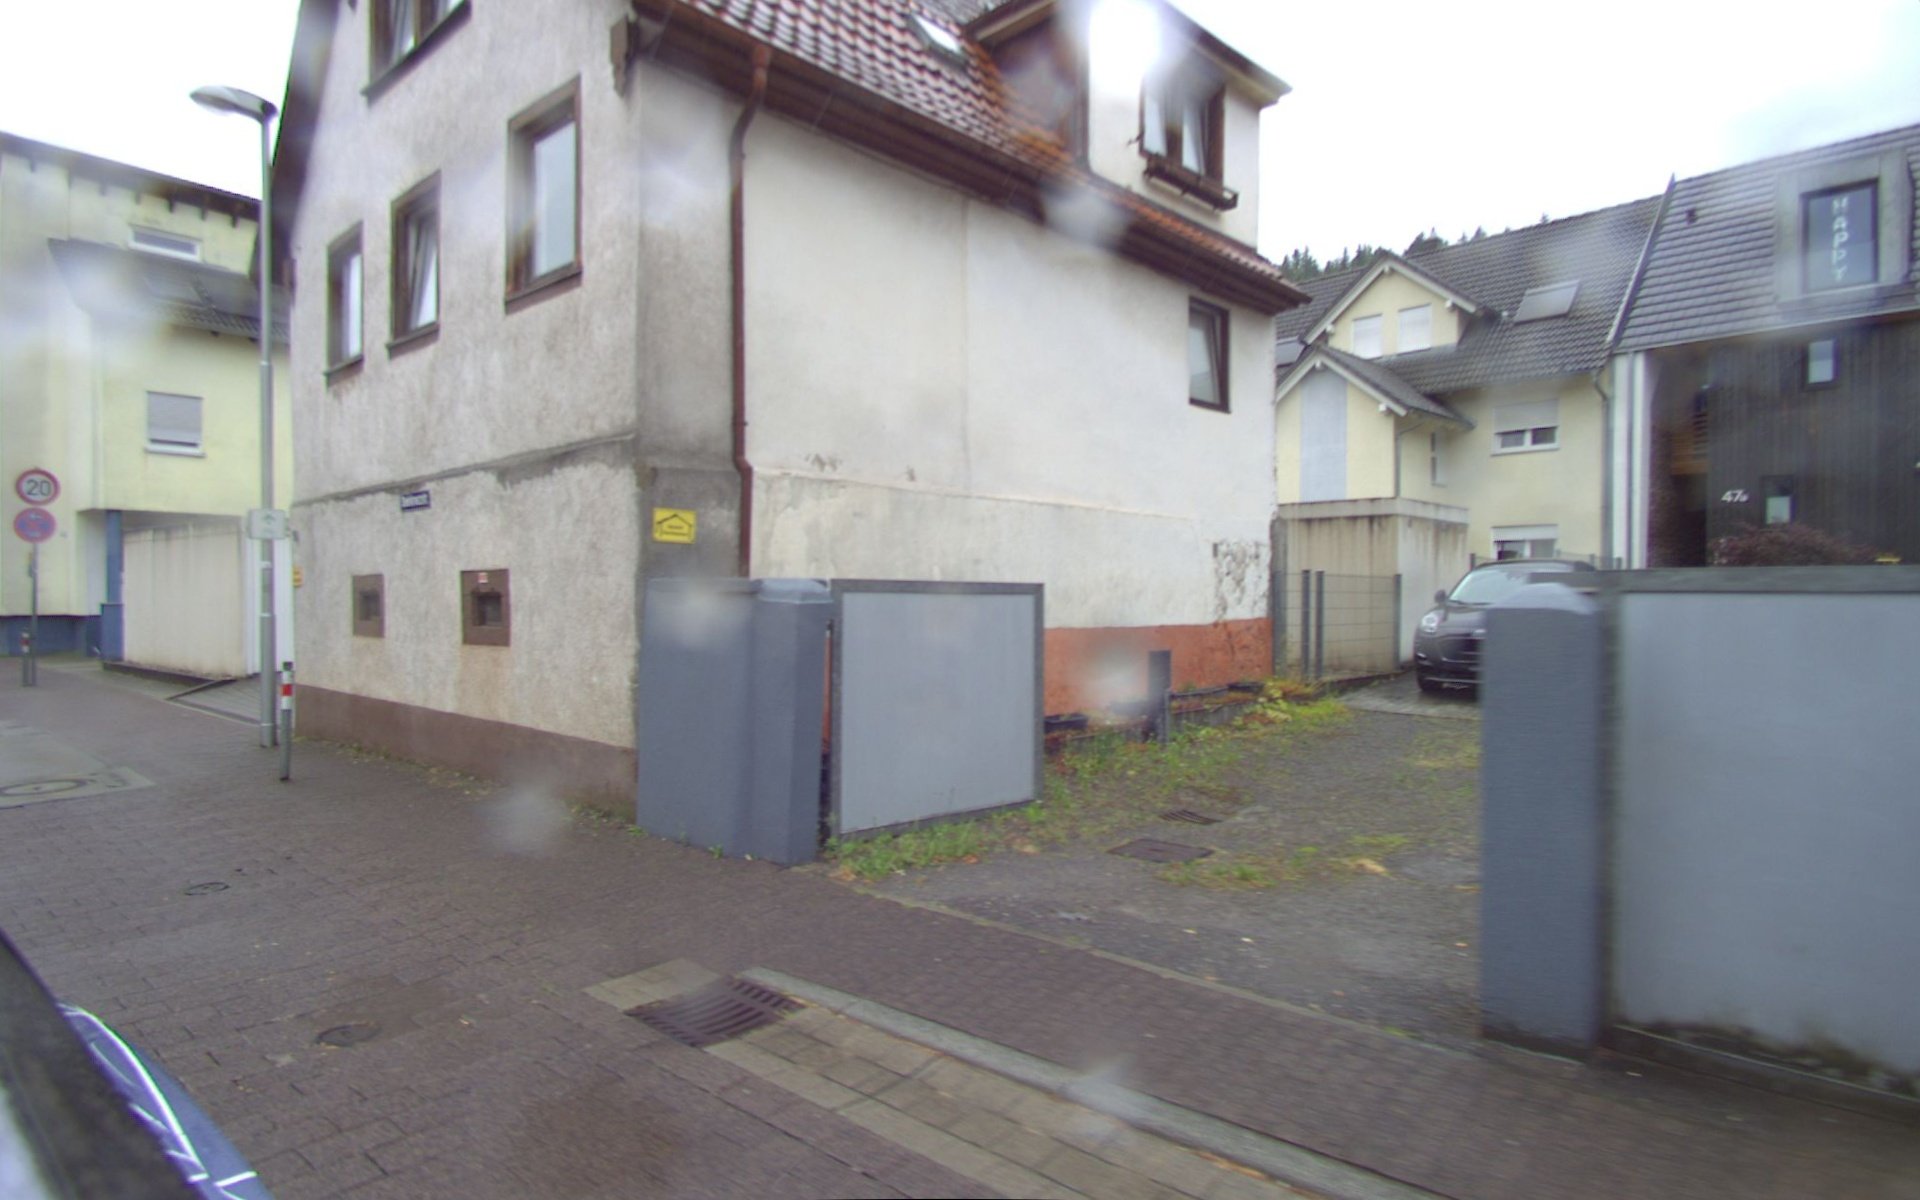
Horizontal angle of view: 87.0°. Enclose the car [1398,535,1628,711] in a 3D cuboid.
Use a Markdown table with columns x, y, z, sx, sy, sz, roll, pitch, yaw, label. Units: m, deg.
| x | y | z | sx | sy | sz | roll | pitch | yaw | label |
| --- | --- | --- | --- | --- | --- | --- | --- | --- | --- |
| 7.003 | 0.133 | 12.571 | 2.031 | 1.733 | 4.163 | -1 | 3 | 35 | car |
